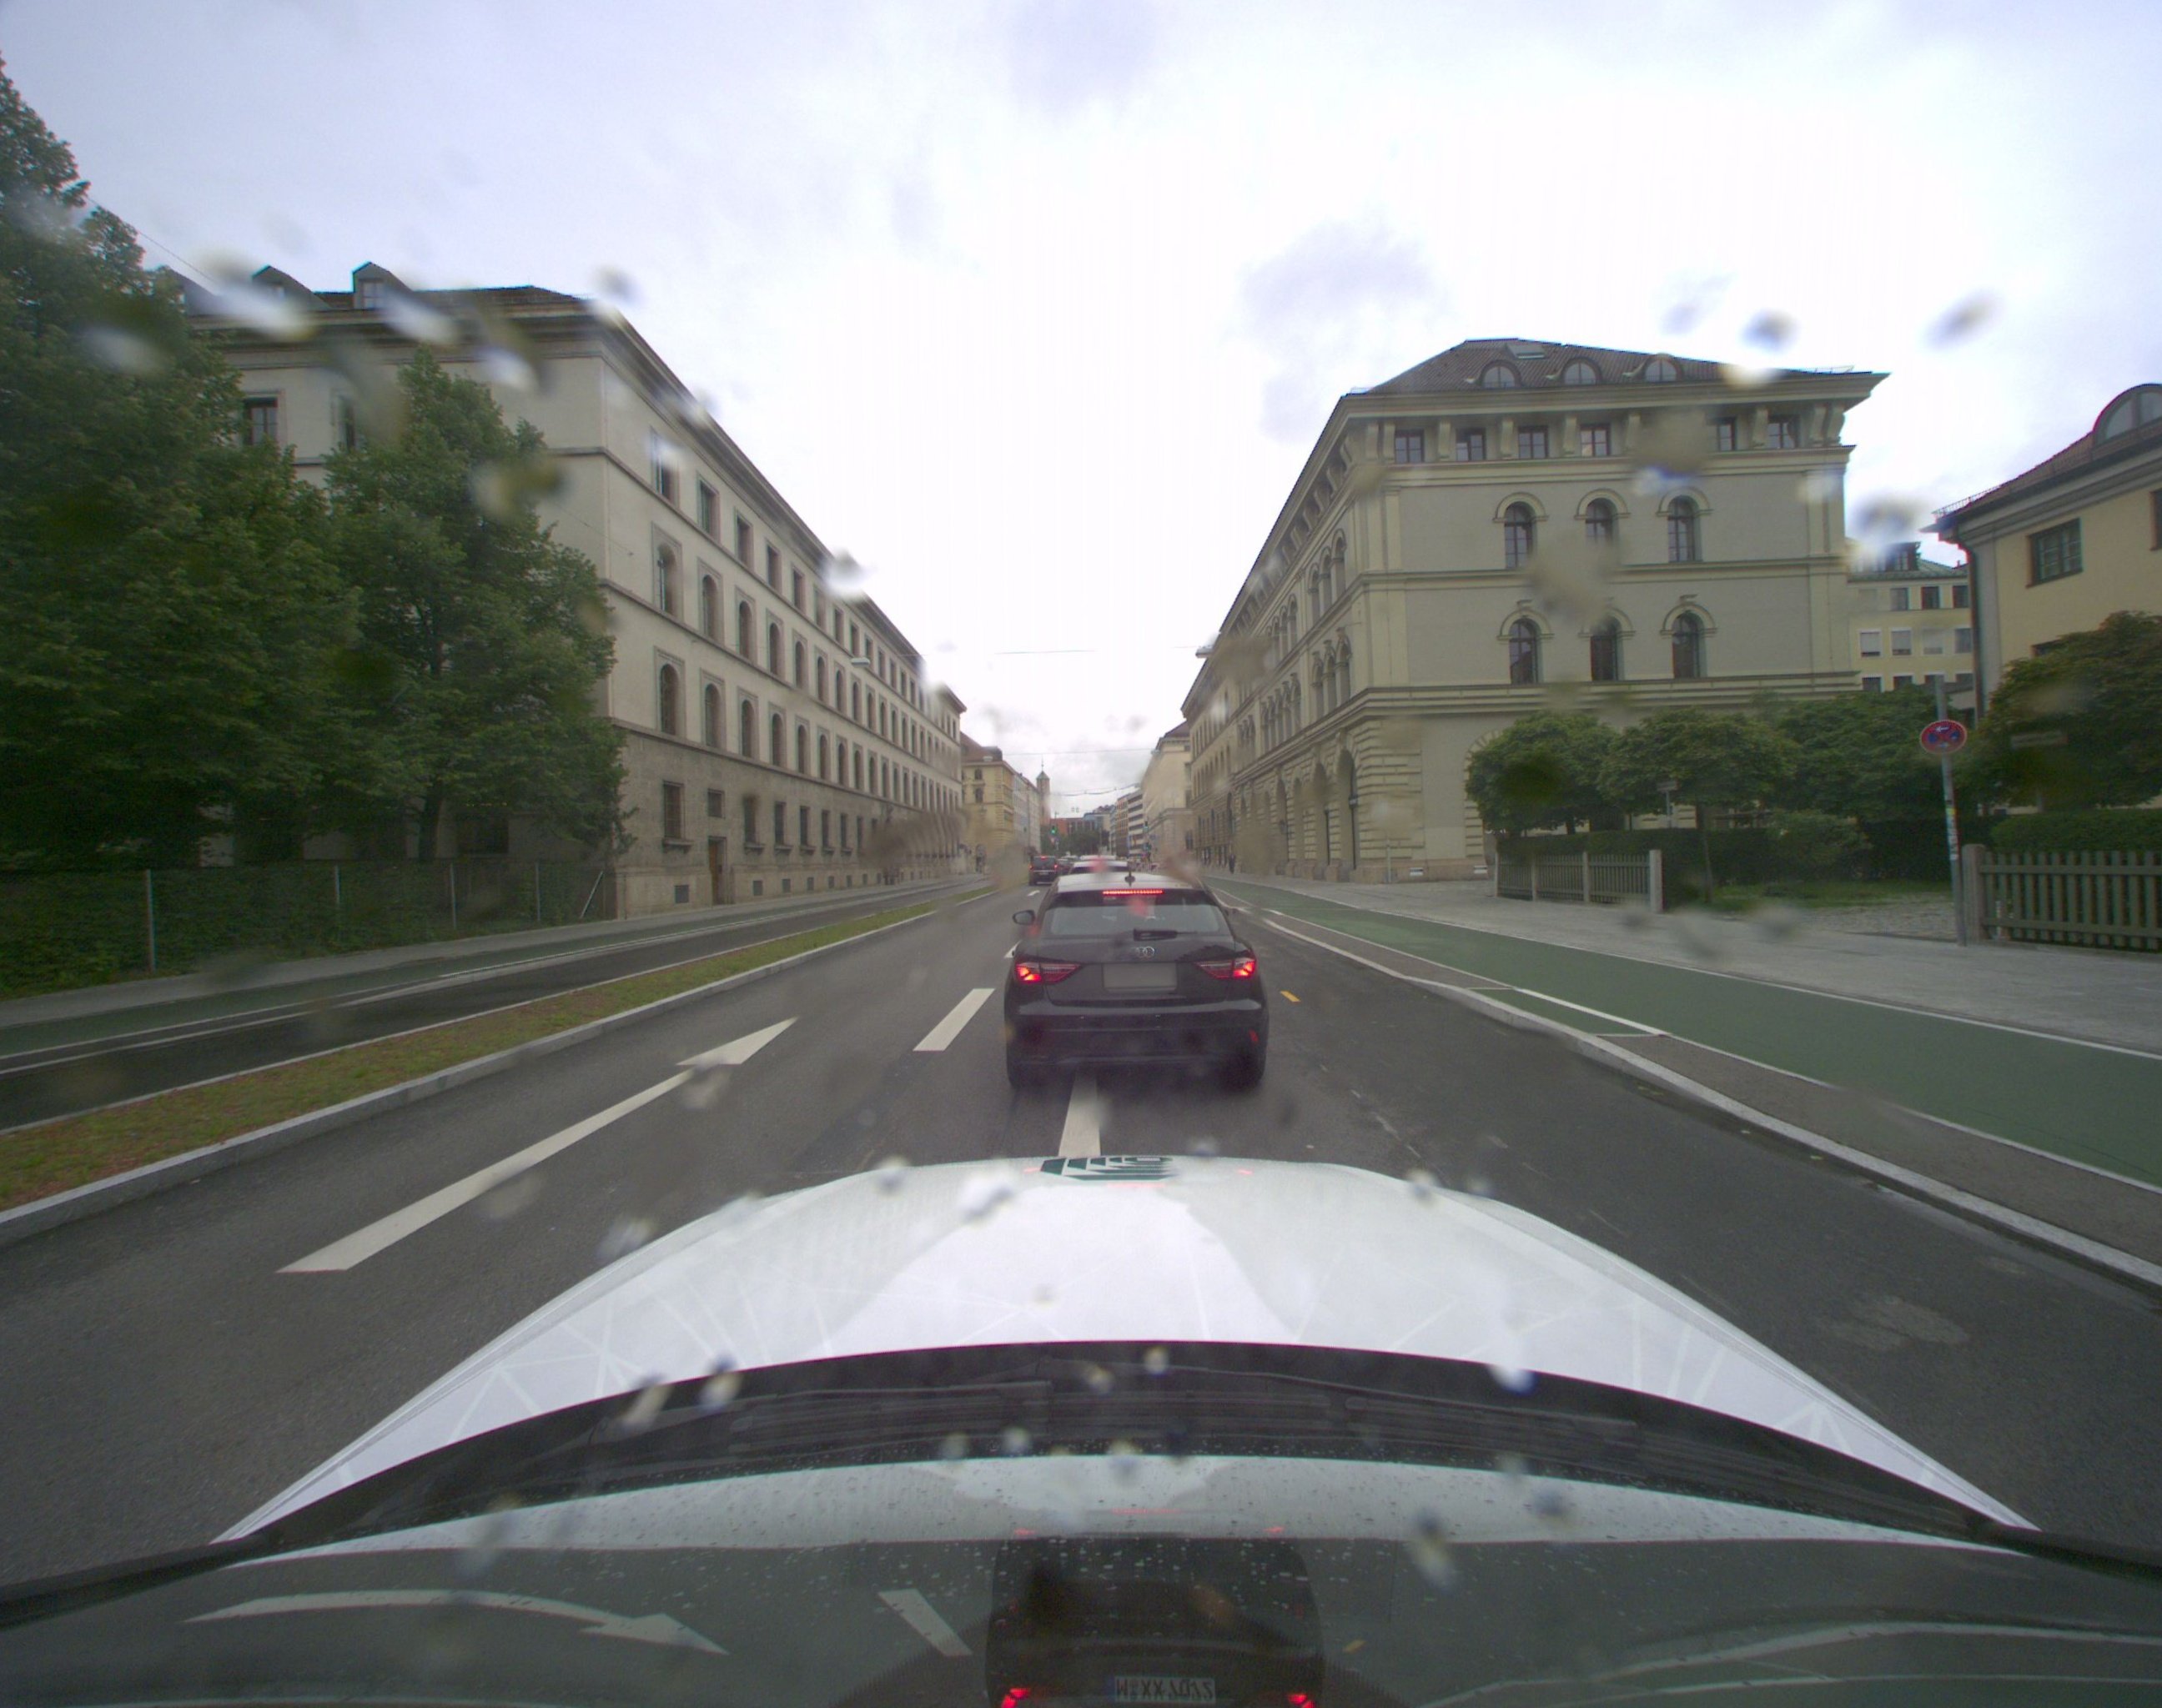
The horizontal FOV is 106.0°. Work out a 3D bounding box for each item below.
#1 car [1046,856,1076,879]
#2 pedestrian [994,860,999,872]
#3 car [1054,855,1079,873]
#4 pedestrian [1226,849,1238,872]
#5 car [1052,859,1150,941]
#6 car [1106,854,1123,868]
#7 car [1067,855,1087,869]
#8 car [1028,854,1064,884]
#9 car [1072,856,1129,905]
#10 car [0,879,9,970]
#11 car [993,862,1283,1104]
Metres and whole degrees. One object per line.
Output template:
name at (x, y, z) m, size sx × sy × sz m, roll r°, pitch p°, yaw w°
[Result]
car at (-1.459, 0.967, 61.745) m, size 1.986 × 1.627 × 4.002 m, roll -2°, pitch 0°, yaw 2°
pedestrian at (-12.908, 1.878, 124.748) m, size 0.653 × 1.805 × 0.727 m, roll -2°, pitch -1°, yaw 1°
car at (-1.277, 0.871, 72.068) m, size 1.986 × 1.444 × 4.002 m, roll -2°, pitch 0°, yaw 2°
pedestrian at (11.031, 0.473, 59.379) m, size 0.707 × 1.618 × 0.754 m, roll -2°, pitch 0°, yaw 1°
car at (0.410, 0.831, 16.441) m, size 1.724 × 1.403 × 4.001 m, roll 0°, pitch 0°, yaw 1°
car at (3.992, 0.872, 96.451) m, size 1.942 × 1.662 × 4.001 m, roll 0°, pitch -1°, yaw 2°
car at (-0.422, 0.889, 92.626) m, size 1.986 × 1.444 × 4.002 m, roll -2°, pitch 0°, yaw 2°
car at (-1.956, 0.836, 46.238) m, size 1.758 × 1.616 × 4.031 m, roll -1°, pitch 0°, yaw 1°
car at (0.640, 0.806, 26.749) m, size 1.724 × 1.461 × 4.001 m, roll 0°, pitch 0°, yaw 1°
car at (-21.896, 1.371, 14.109) m, size 4.247 × 1.649 × 1.805 m, roll -2°, pitch 0°, yaw 1°
car at (0.394, 0.792, 6.870) m, size 1.724 × 1.403 × 4.001 m, roll 0°, pitch 0°, yaw 1°
